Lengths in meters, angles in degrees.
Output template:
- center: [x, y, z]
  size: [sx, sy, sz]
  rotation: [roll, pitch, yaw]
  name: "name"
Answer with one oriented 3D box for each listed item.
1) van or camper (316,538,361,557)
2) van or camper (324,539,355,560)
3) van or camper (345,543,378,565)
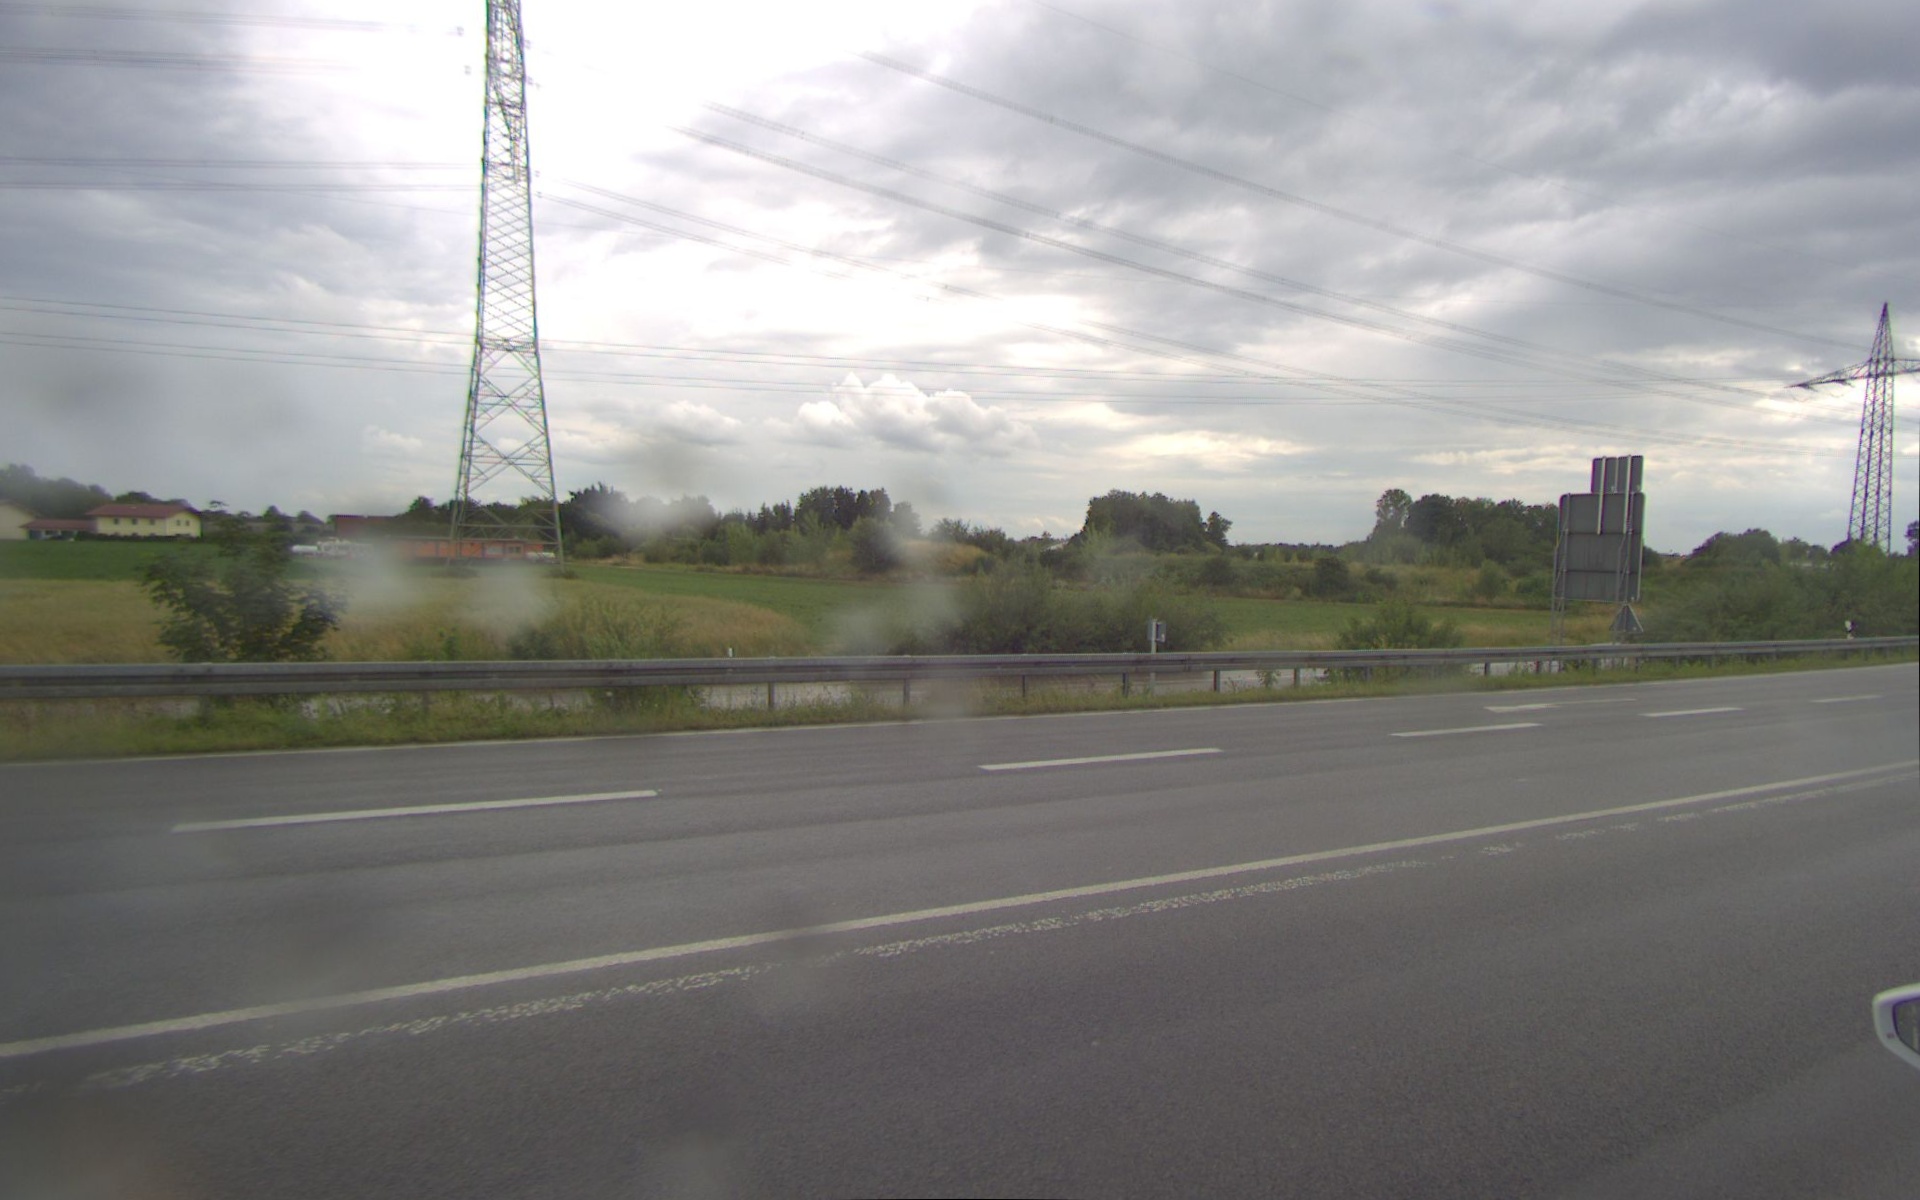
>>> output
- center: [-97.286, -8.216, 157.261]
  size: [5.672, 2.668, 2.300]
  rotation: [0, 4, -41]
  name: "van or camper"
- center: [-90.303, -7.385, 146.180]
  size: [5.634, 2.668, 2.316]
  rotation: [6, 5, 42]
  name: "van or camper"
- center: [-80.576, -6.200, 135.182]
  size: [5.634, 2.668, 2.316]
  rotation: [6, 5, 42]
  name: "van or camper"
